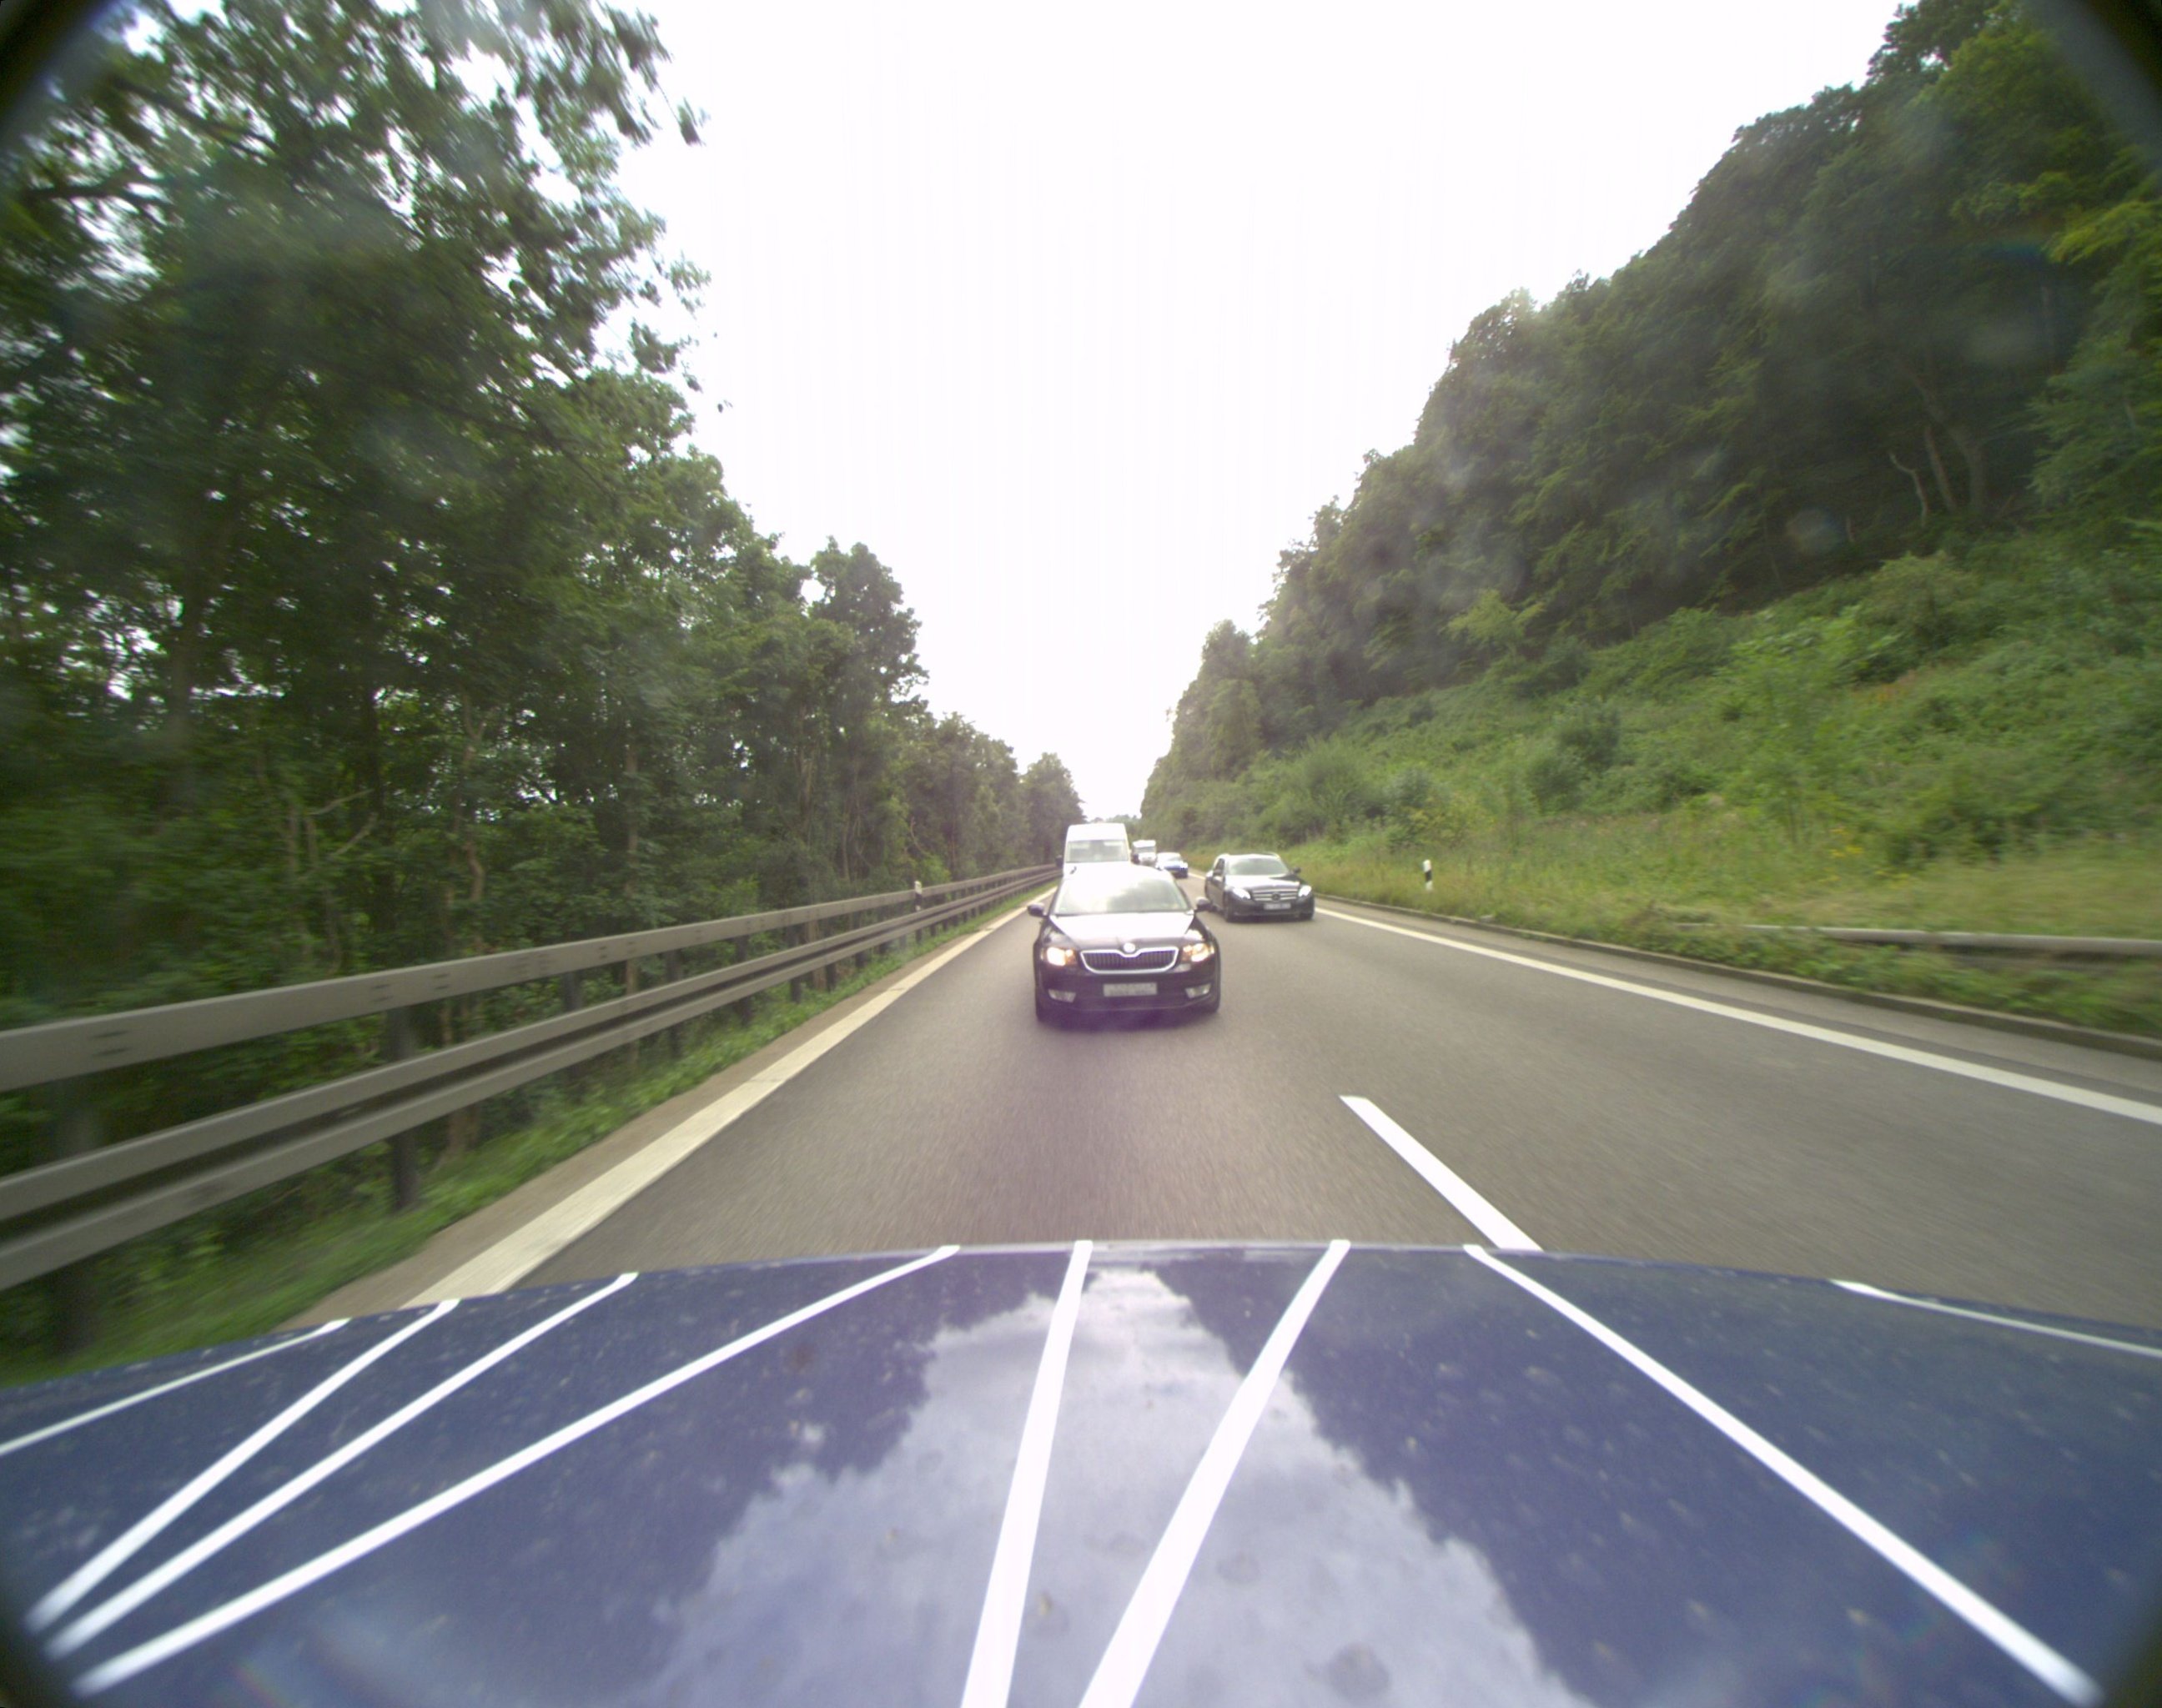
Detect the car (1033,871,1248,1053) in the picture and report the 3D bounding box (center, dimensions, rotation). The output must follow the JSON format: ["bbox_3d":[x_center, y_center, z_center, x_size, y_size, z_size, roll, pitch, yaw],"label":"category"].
[{"bbox_3d":[0.488,0.944,8.520,1.751,1.409,4.401,-2,0,0],"label":"car"}]

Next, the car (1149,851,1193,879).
[{"bbox_3d":[5.070,0.577,43.545,1.841,1.460,4.554,-2,0,-1],"label":"car"}]

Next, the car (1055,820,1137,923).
[{"bbox_3d":[0.479,0.416,21.669,2.000,2.545,5.128,-1,1,2],"label":"car"}]

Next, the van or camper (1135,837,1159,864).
[{"bbox_3d":[6.874,-0.375,80.134,2.270,2.719,7.025,-1,0,3],"label":"van or camper"}]

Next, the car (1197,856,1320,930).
[{"bbox_3d":[3.981,0.796,17.921,1.765,1.455,5.123,-2,0,1],"label":"car"}]
